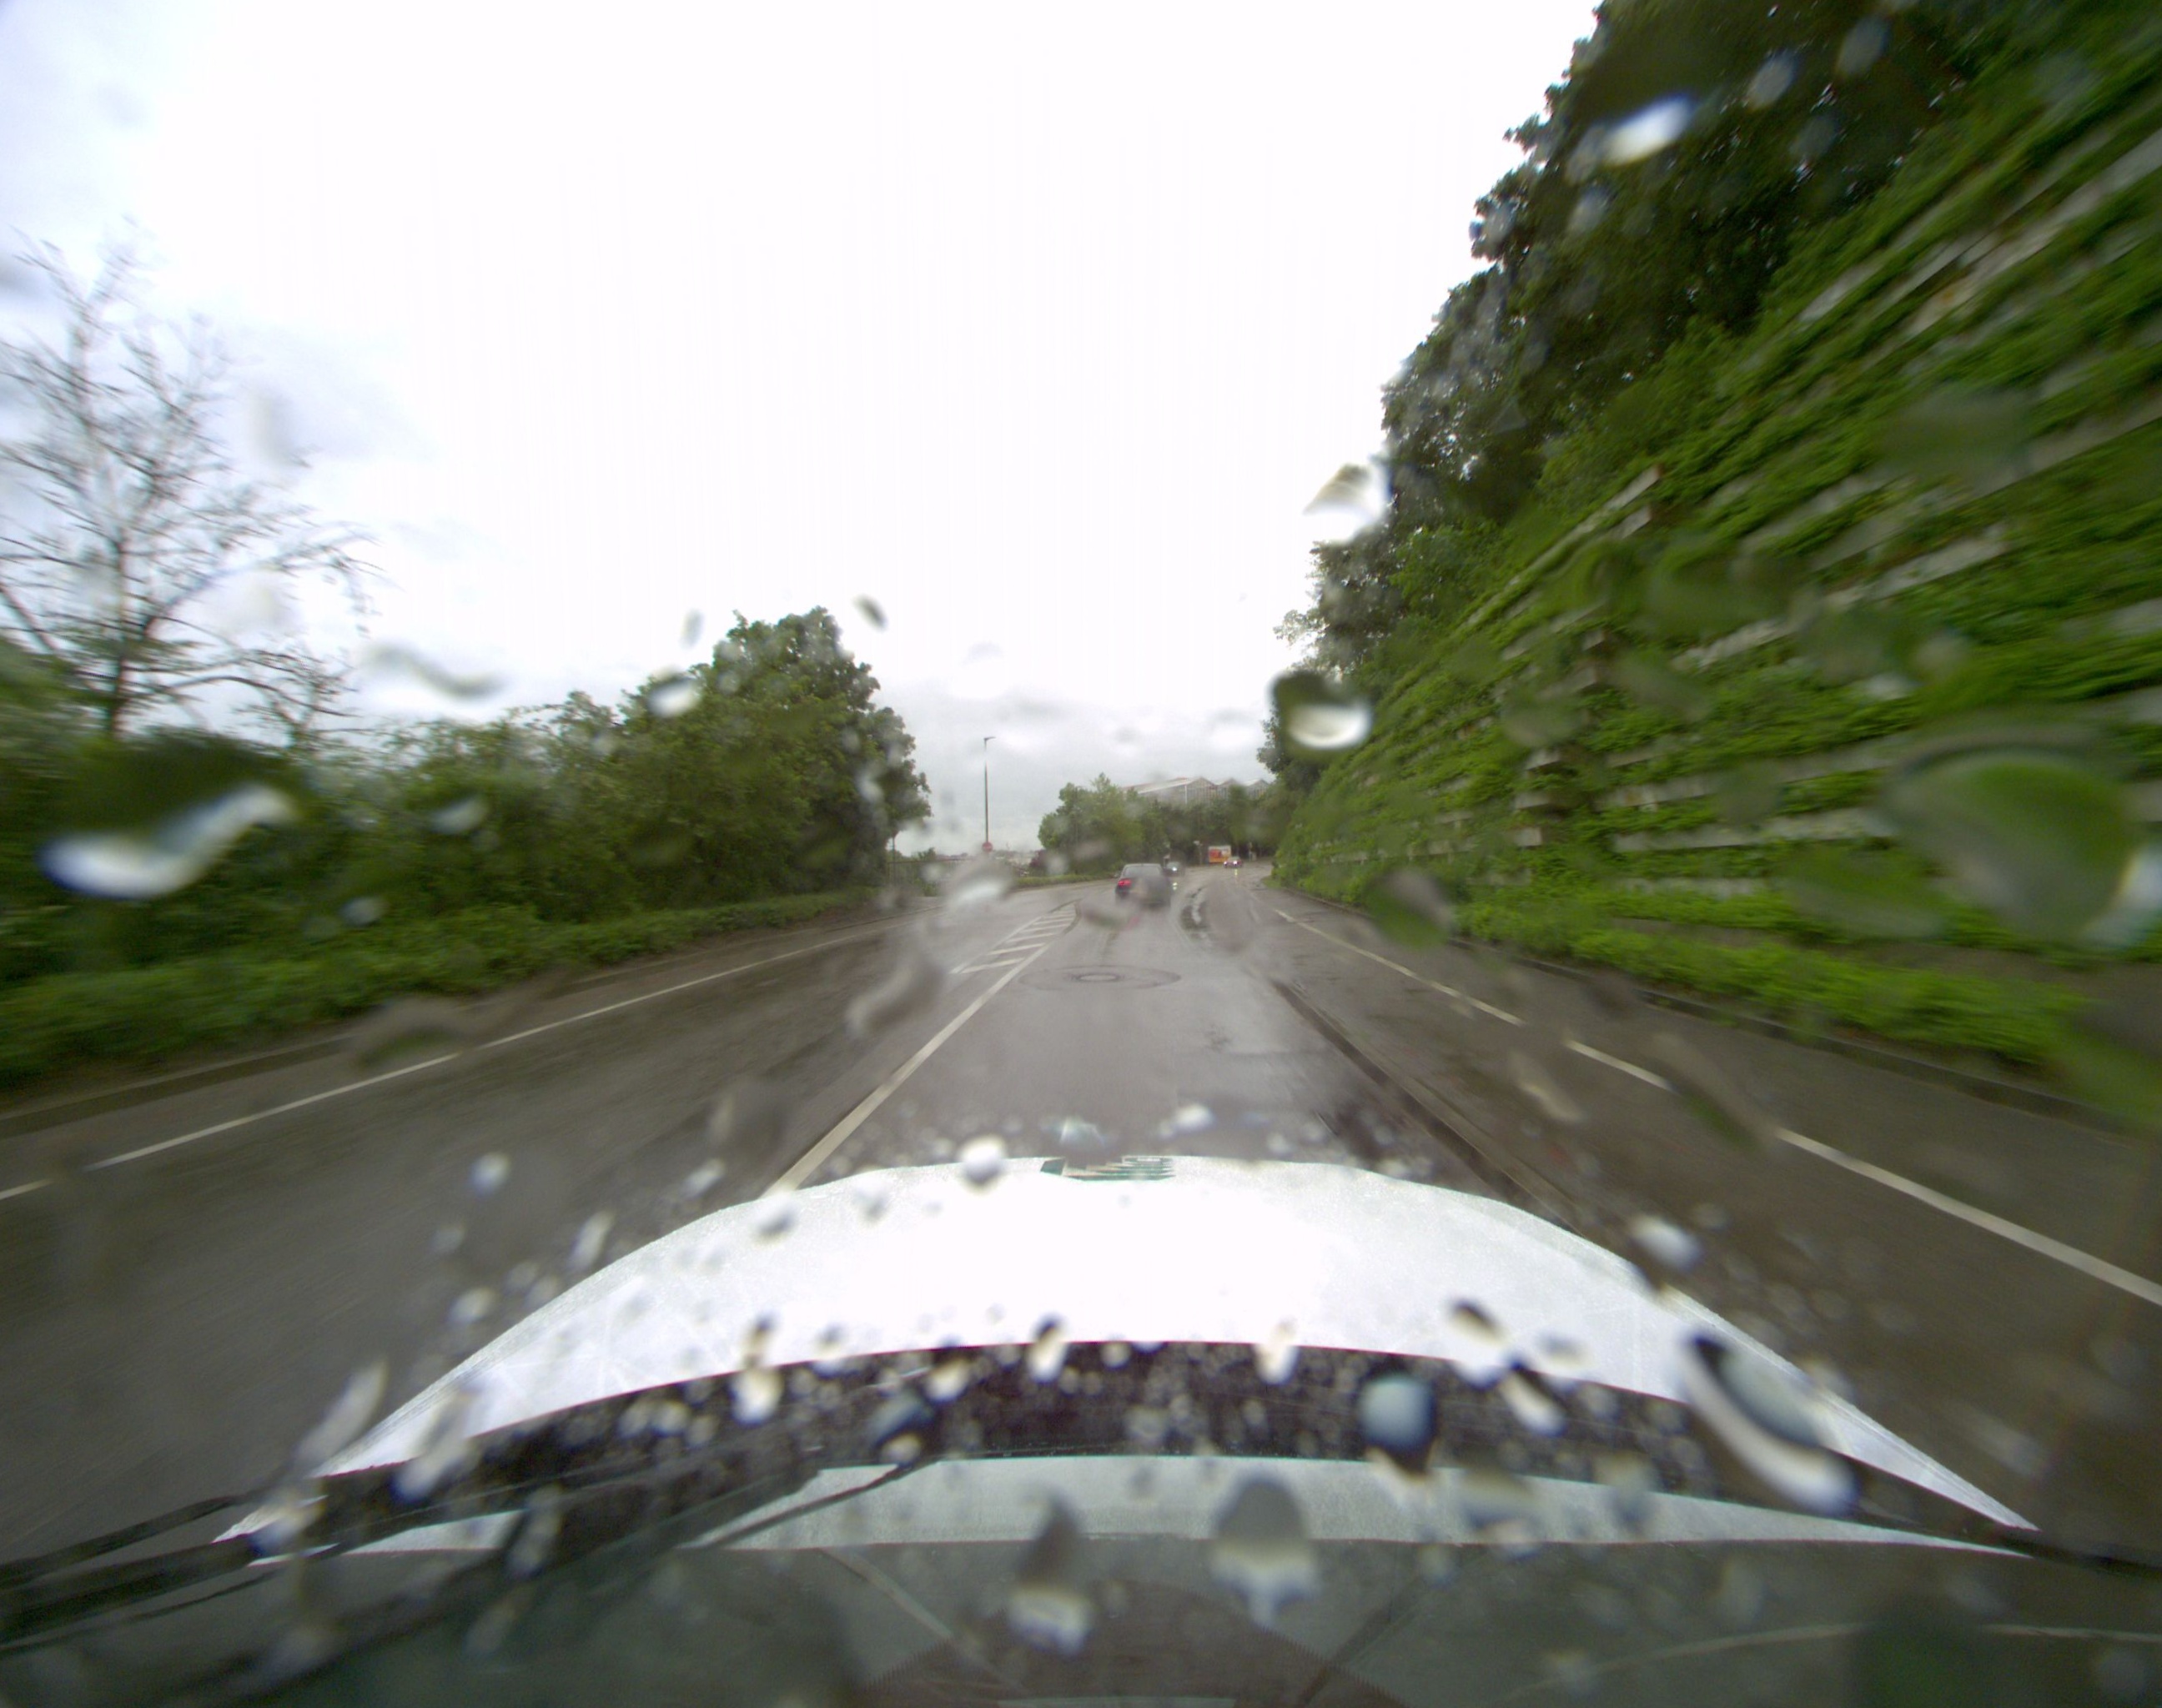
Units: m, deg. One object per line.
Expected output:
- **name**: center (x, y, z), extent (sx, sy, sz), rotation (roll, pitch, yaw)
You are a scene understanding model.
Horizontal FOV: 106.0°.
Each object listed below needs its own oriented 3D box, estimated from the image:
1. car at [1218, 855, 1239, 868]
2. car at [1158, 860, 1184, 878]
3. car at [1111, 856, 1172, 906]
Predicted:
- **car**: center (20.503, 1.048, 113.103), extent (1.976, 1.741, 4.022), rotation (-2, 0, 23)
- **car**: center (9.472, 1.559, 85.689), extent (1.978, 1.741, 4.018), rotation (-2, 0, 17)
- **car**: center (1.932, 0.845, 27.086), extent (1.885, 1.492, 4.210), rotation (0, 0, 2)
